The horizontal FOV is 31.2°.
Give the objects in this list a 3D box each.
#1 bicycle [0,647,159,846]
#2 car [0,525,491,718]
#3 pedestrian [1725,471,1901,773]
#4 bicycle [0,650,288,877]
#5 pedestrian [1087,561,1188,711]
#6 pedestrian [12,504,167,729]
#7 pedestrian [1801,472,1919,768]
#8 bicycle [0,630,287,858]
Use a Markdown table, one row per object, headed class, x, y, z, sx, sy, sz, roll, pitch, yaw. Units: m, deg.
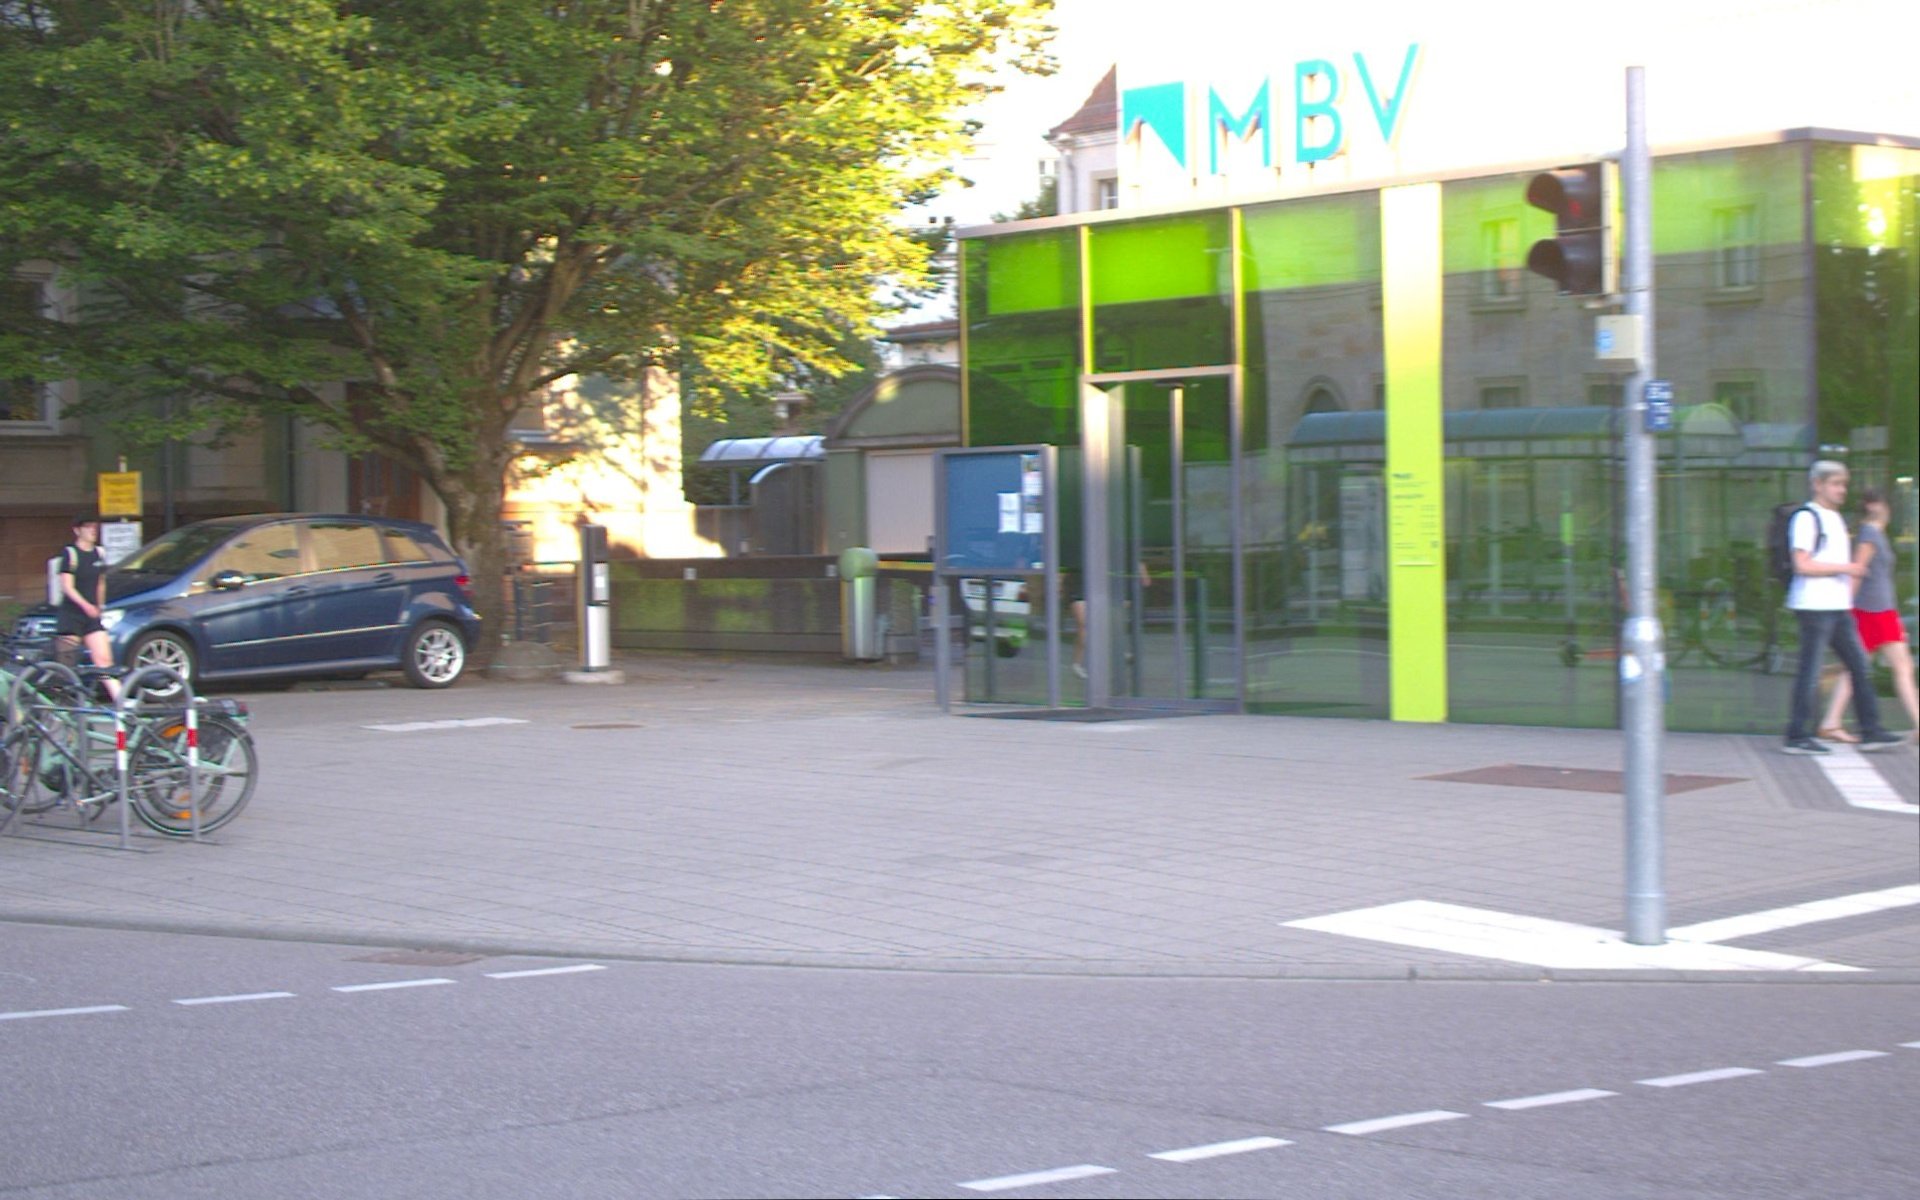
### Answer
| class | x | y | z | sx | sy | sz | roll | pitch | yaw |
| --- | --- | --- | --- | --- | --- | --- | --- | --- | --- |
| bicycle | -5.538 | 0.834 | 19.564 | 1.756 | 1.071 | 0.744 | -1 | 1 | -39 |
| car | -6.350 | 0.137 | 30.564 | 3.985 | 1.568 | 1.803 | -1 | 2 | -41 |
| pedestrian | 5.096 | 0.119 | 20.544 | 0.706 | 1.762 | 0.735 | -1 | 1 | -40 |
| bicycle | -4.502 | 0.838 | 17.834 | 1.859 | 1.071 | 0.744 | -2 | 1 | -23 |
| pedestrian | 1.444 | 0.285 | 28.052 | 0.542 | 1.204 | 0.615 | -1 | 1 | -40 |
| pedestrian | -6.966 | 0.124 | 27.501 | 0.988 | 1.762 | 0.707 | 0 | 1 | 34 |
| pedestrian | 5.661 | 0.109 | 20.993 | 0.706 | 1.762 | 0.746 | -1 | 1 | -40 |
| bicycle | -4.888 | 0.782 | 18.857 | 2.231 | 1.128 | 0.744 | -3 | 2 | -39 |
